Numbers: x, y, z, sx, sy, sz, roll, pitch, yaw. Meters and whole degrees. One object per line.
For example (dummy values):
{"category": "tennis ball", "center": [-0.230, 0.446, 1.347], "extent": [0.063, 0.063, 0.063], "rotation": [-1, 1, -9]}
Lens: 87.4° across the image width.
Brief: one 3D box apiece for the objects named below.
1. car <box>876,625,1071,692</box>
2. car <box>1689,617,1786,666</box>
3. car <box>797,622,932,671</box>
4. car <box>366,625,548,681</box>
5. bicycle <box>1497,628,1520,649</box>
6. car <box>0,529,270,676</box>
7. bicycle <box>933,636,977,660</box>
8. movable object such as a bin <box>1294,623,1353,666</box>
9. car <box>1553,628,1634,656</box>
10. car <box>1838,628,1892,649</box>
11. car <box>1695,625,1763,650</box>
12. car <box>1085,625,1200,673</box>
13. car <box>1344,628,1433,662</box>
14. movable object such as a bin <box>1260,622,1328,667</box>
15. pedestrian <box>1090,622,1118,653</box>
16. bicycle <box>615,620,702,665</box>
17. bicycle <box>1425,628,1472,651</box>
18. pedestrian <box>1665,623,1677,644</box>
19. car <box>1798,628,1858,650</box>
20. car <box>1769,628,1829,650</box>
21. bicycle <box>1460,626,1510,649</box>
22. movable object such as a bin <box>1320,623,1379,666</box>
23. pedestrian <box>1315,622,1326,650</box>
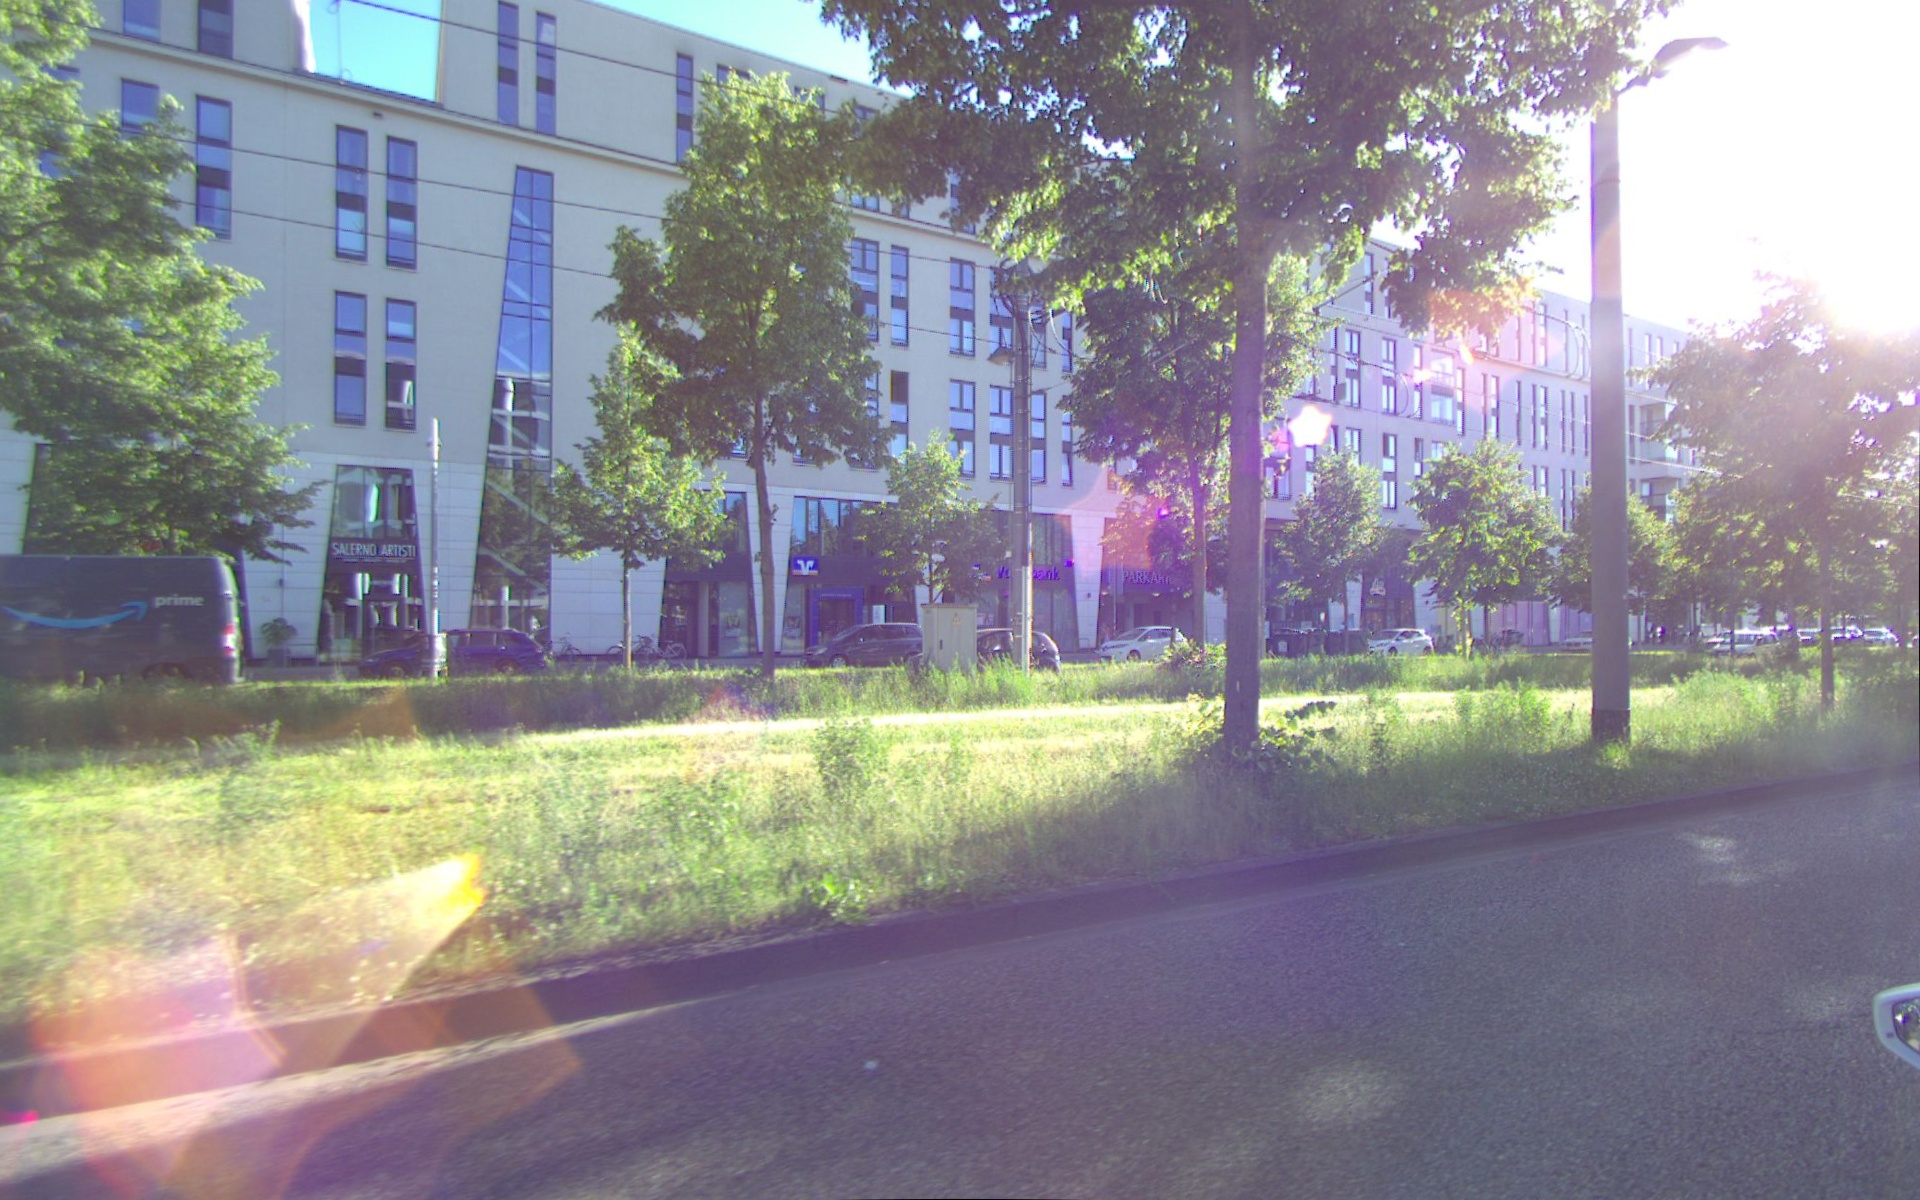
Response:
{"category": "car", "center": [0.355, 1.410, 24.784], "extent": [4.402, 1.460, 1.985], "rotation": [2, 0, -29]}
{"category": "car", "center": [35.254, 1.870, 45.537], "extent": [3.949, 2.040, 1.986], "rotation": [2, 0, -27]}
{"category": "car", "center": [-3.165, 1.521, 33.398], "extent": [4.219, 1.499, 1.551], "rotation": [1, 0, -29]}
{"category": "car", "center": [-13.751, 1.399, 27.544], "extent": [4.291, 1.432, 1.713], "rotation": [1, -1, -33]}
{"category": "bicycle", "center": [35.254, 2.490, 64.551], "extent": [1.590, 1.298, 0.594], "rotation": [1, 0, -32]}
{"category": "car", "center": [-16.055, 0.035, 17.886], "extent": [5.958, 2.413, 2.493], "rotation": [2, 0, -31]}
{"category": "bicycle", "center": [-0.233, 2.078, 43.839], "extent": [1.823, 1.002, 0.616], "rotation": [1, 0, -25]}
{"category": "movable object such as a bin", "center": [16.182, 1.959, 44.754], "extent": [1.538, 1.818, 1.960], "rotation": [1, 0, -31]}
{"category": "car", "center": [35.884, 2.377, 56.857], "extent": [4.871, 1.460, 1.982], "rotation": [2, 0, -32]}
{"category": "car", "center": [69.398, 2.968, 77.011], "extent": [4.407, 1.460, 1.982], "rotation": [2, 0, -32]}
{"category": "car", "center": [49.792, 2.436, 65.027], "extent": [4.727, 1.460, 1.982], "rotation": [2, 0, -32]}
{"category": "car", "center": [7.308, 1.925, 40.151], "extent": [4.291, 1.752, 1.982], "rotation": [2, 0, -32]}
{"category": "car", "center": [20.256, 2.098, 47.449], "extent": [3.975, 1.460, 1.982], "rotation": [2, 0, -32]}
{"category": "movable object such as a bin", "center": [14.490, 1.912, 43.617], "extent": [1.988, 1.818, 1.959], "rotation": [1, 0, -32]}
{"category": "pedestrian", "center": [7.159, 1.872, 49.991], "extent": [1.018, 1.487, 0.939], "rotation": [1, 0, -39]}
{"category": "bicycle", "center": [-11.101, 1.569, 37.036], "extent": [2.996, 1.566, 0.615], "rotation": [1, 0, -28]}
{"category": "bicycle", "center": [29.489, 2.377, 60.660], "extent": [2.732, 1.298, 0.945], "rotation": [2, 0, -23]}
{"category": "pedestrian", "center": [57.408, 2.692, 81.098], "extent": [0.713, 1.673, 0.631], "rotation": [1, 0, -37]}
{"category": "car", "center": [63.546, 2.856, 73.519], "extent": [4.883, 1.460, 1.982], "rotation": [2, 0, -32]}
{"category": "car", "center": [58.758, 2.725, 70.330], "extent": [4.407, 1.460, 1.982], "rotation": [2, 0, -32]}
{"category": "bicycle", "center": [33.310, 2.356, 63.697], "extent": [2.723, 1.298, 0.948], "rotation": [2, 0, 32]}
{"category": "movable object such as a bin", "center": [17.703, 2.000, 45.683], "extent": [1.538, 1.818, 1.960], "rotation": [1, 0, -31]}
{"category": "pedestrian", "center": [20.923, 2.090, 58.243], "extent": [0.511, 1.570, 0.502], "rotation": [2, 0, 12]}
